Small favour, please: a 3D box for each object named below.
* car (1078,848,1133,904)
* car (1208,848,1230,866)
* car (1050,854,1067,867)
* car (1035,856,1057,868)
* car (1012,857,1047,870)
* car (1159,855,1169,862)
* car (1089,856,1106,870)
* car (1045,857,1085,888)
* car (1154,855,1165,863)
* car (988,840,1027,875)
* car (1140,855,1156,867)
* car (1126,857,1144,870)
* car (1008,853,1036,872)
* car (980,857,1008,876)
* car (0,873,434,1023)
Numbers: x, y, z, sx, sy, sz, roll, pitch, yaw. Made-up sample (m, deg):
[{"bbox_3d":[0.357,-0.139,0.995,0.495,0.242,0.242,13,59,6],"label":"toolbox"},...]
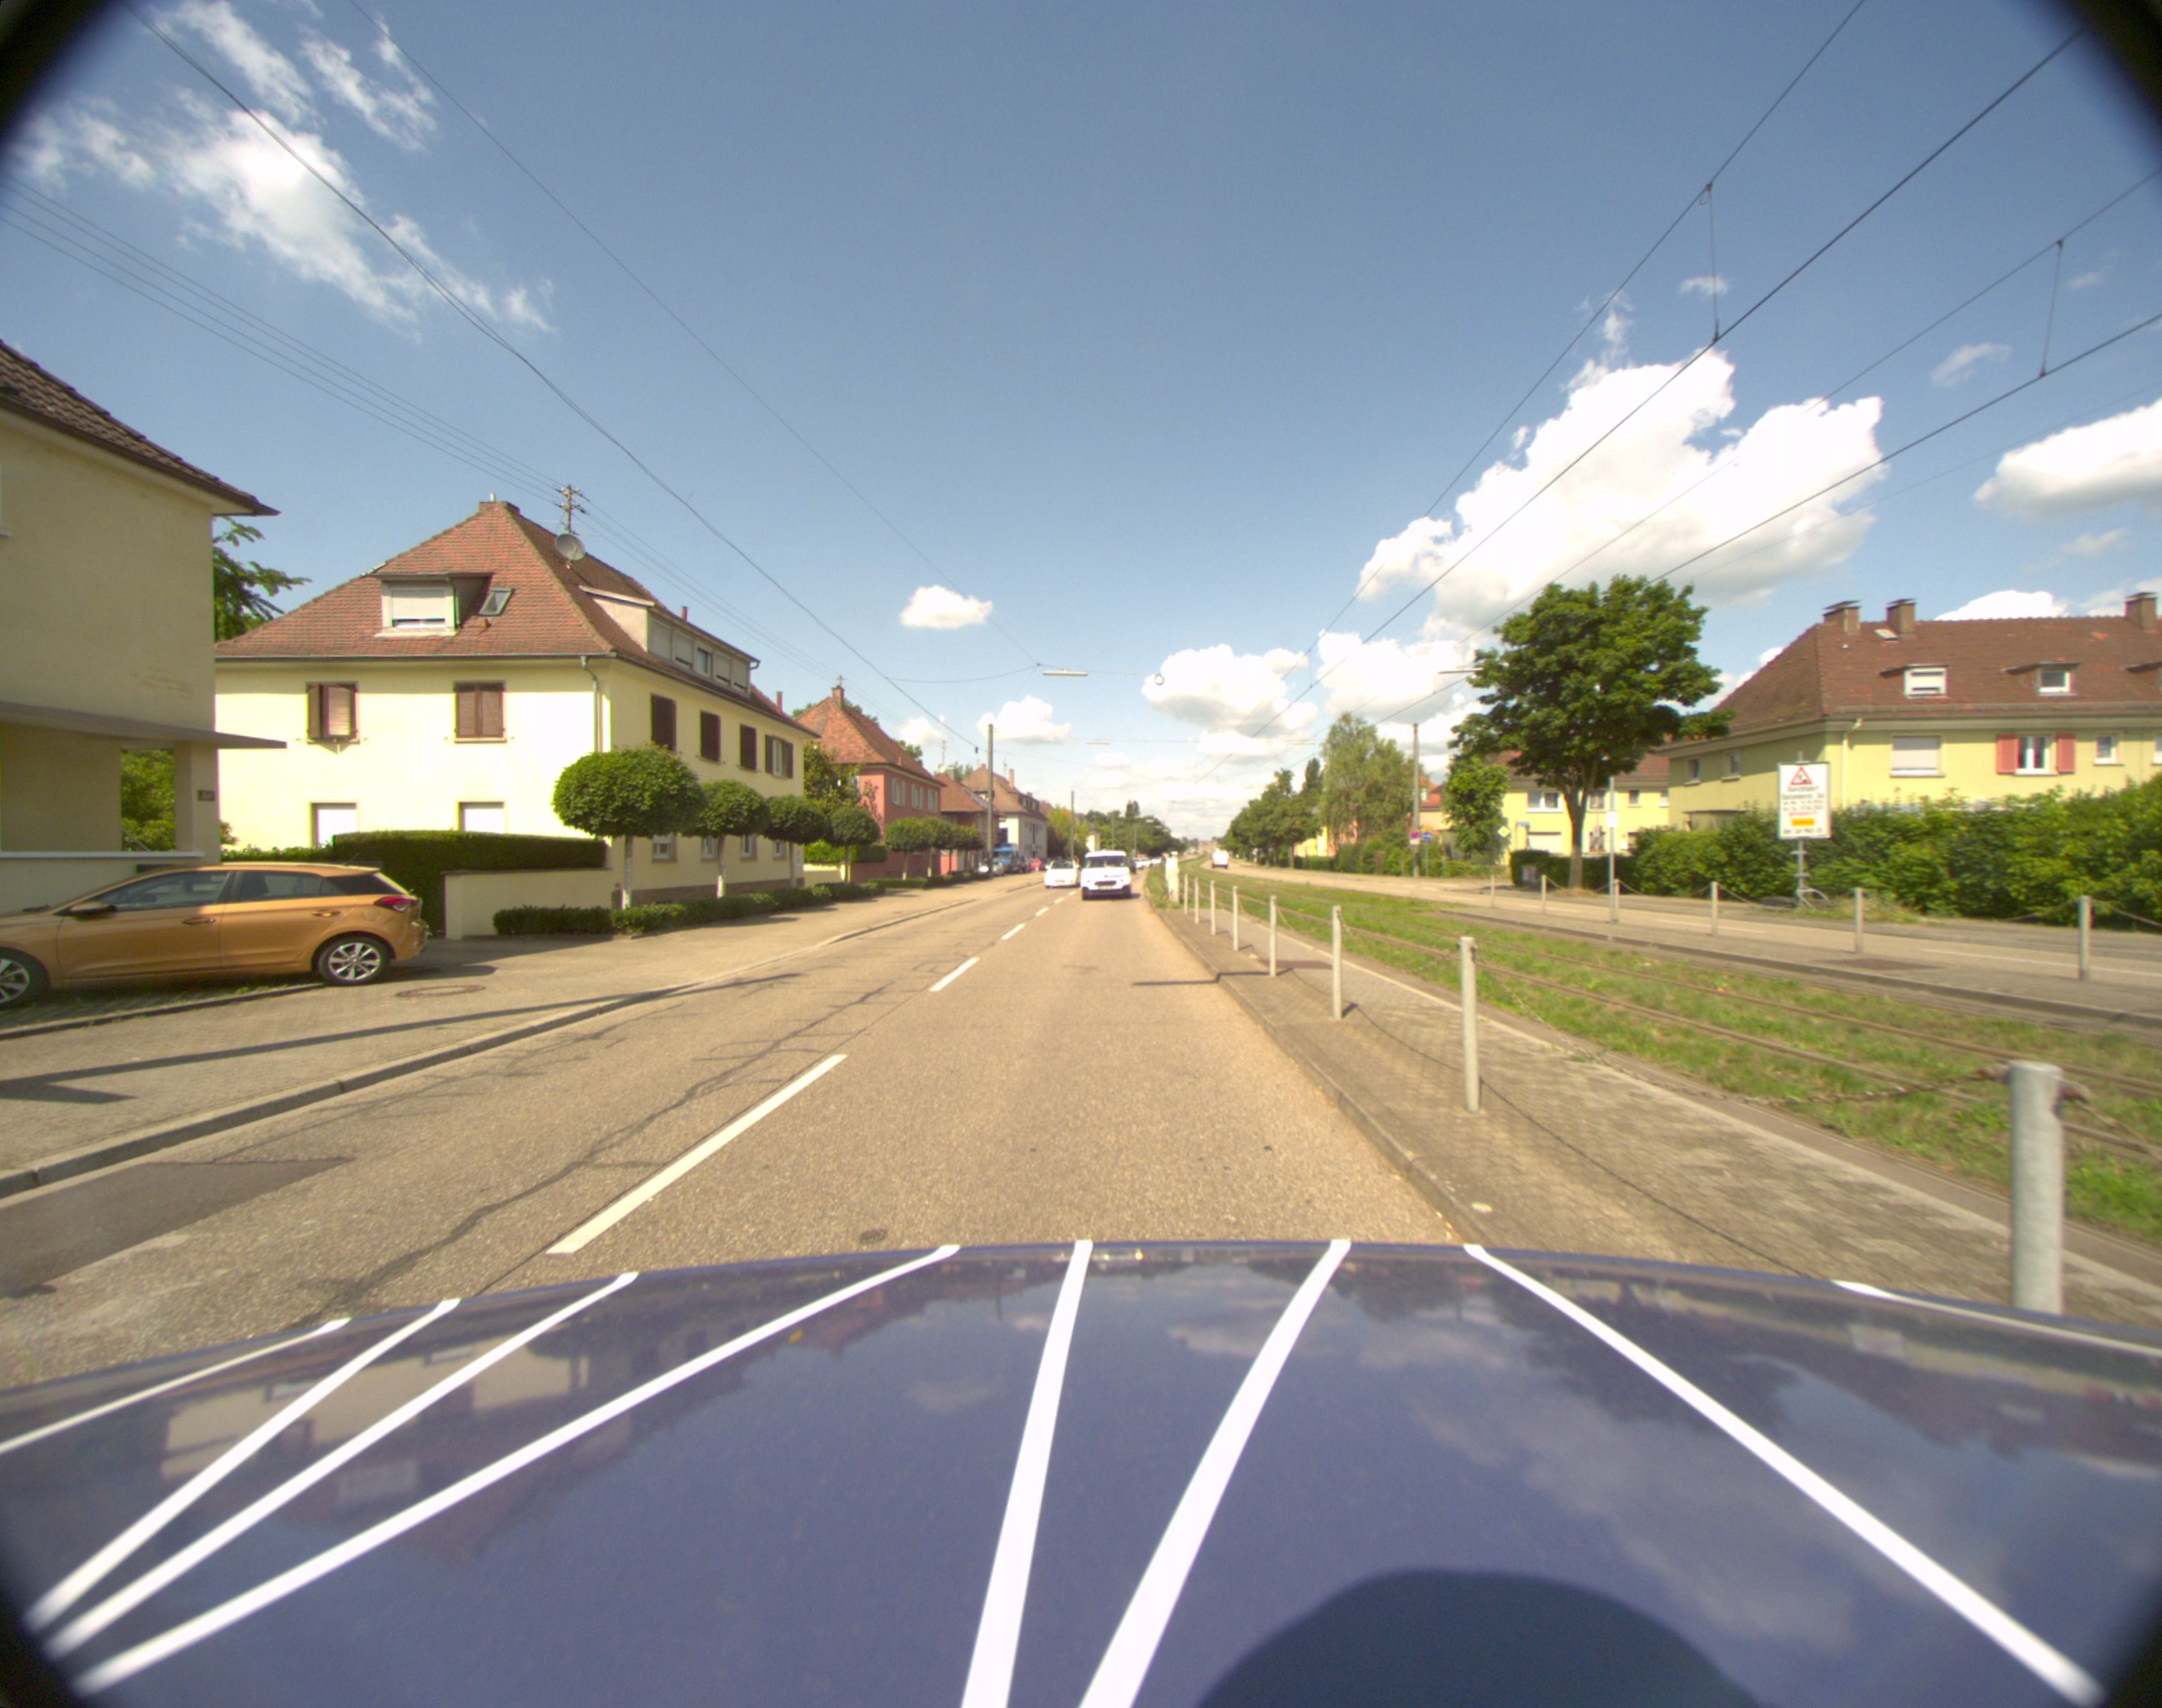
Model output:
[{"bbox_3d":[0.965,0.756,27.804,1.777,1.850,4.376,-1,0,4],"label":"car"},{"bbox_3d":[19.436,0.391,106.921,2.201,2.358,5.333,1,1,2],"label":"car"},{"bbox_3d":[-2.919,0.866,100.454,1.760,1.637,4.770,1,1,4],"label":"car"},{"bbox_3d":[-4.121,0.950,90.557,1.802,1.415,4.859,1,0,6],"label":"car"},{"bbox_3d":[-5.742,1.043,84.910,3.657,1.372,1.727,0,1,4],"label":"car"},{"bbox_3d":[18.325,1.048,168.368,1.997,1.477,4.002,-1,1,8],"label":"car"},{"bbox_3d":[1.998,1.027,90.252,1.811,1.550,4.254,-1,0,5],"label":"car"},{"bbox_3d":[-0.808,0.983,41.574,1.777,1.540,4.001,-2,0,4],"label":"car"},{"bbox_3d":[15.669,1.011,151.523,1.997,1.477,4.002,-1,1,8],"label":"car"},{"bbox_3d":[-6.563,0.253,68.386,2.156,2.913,6.246,-1,1,6],"label":"car"},{"bbox_3d":[9.549,1.006,107.804,1.997,1.576,4.002,-1,1,10],"label":"car"},{"bbox_3d":[6.663,1.134,93.527,1.997,1.477,4.002,-1,1,8],"label":"car"},{"bbox_3d":[-5.734,0.811,74.593,1.840,1.701,4.866,2,0,5],"label":"car"},{"bbox_3d":[-6.964,0.977,61.500,1.653,1.401,4.350,0,1,2],"label":"car"},{"bbox_3d":[-10.285,0.963,8.862,4.102,1.449,1.911,2,-2,-39],"label":"car"}]
